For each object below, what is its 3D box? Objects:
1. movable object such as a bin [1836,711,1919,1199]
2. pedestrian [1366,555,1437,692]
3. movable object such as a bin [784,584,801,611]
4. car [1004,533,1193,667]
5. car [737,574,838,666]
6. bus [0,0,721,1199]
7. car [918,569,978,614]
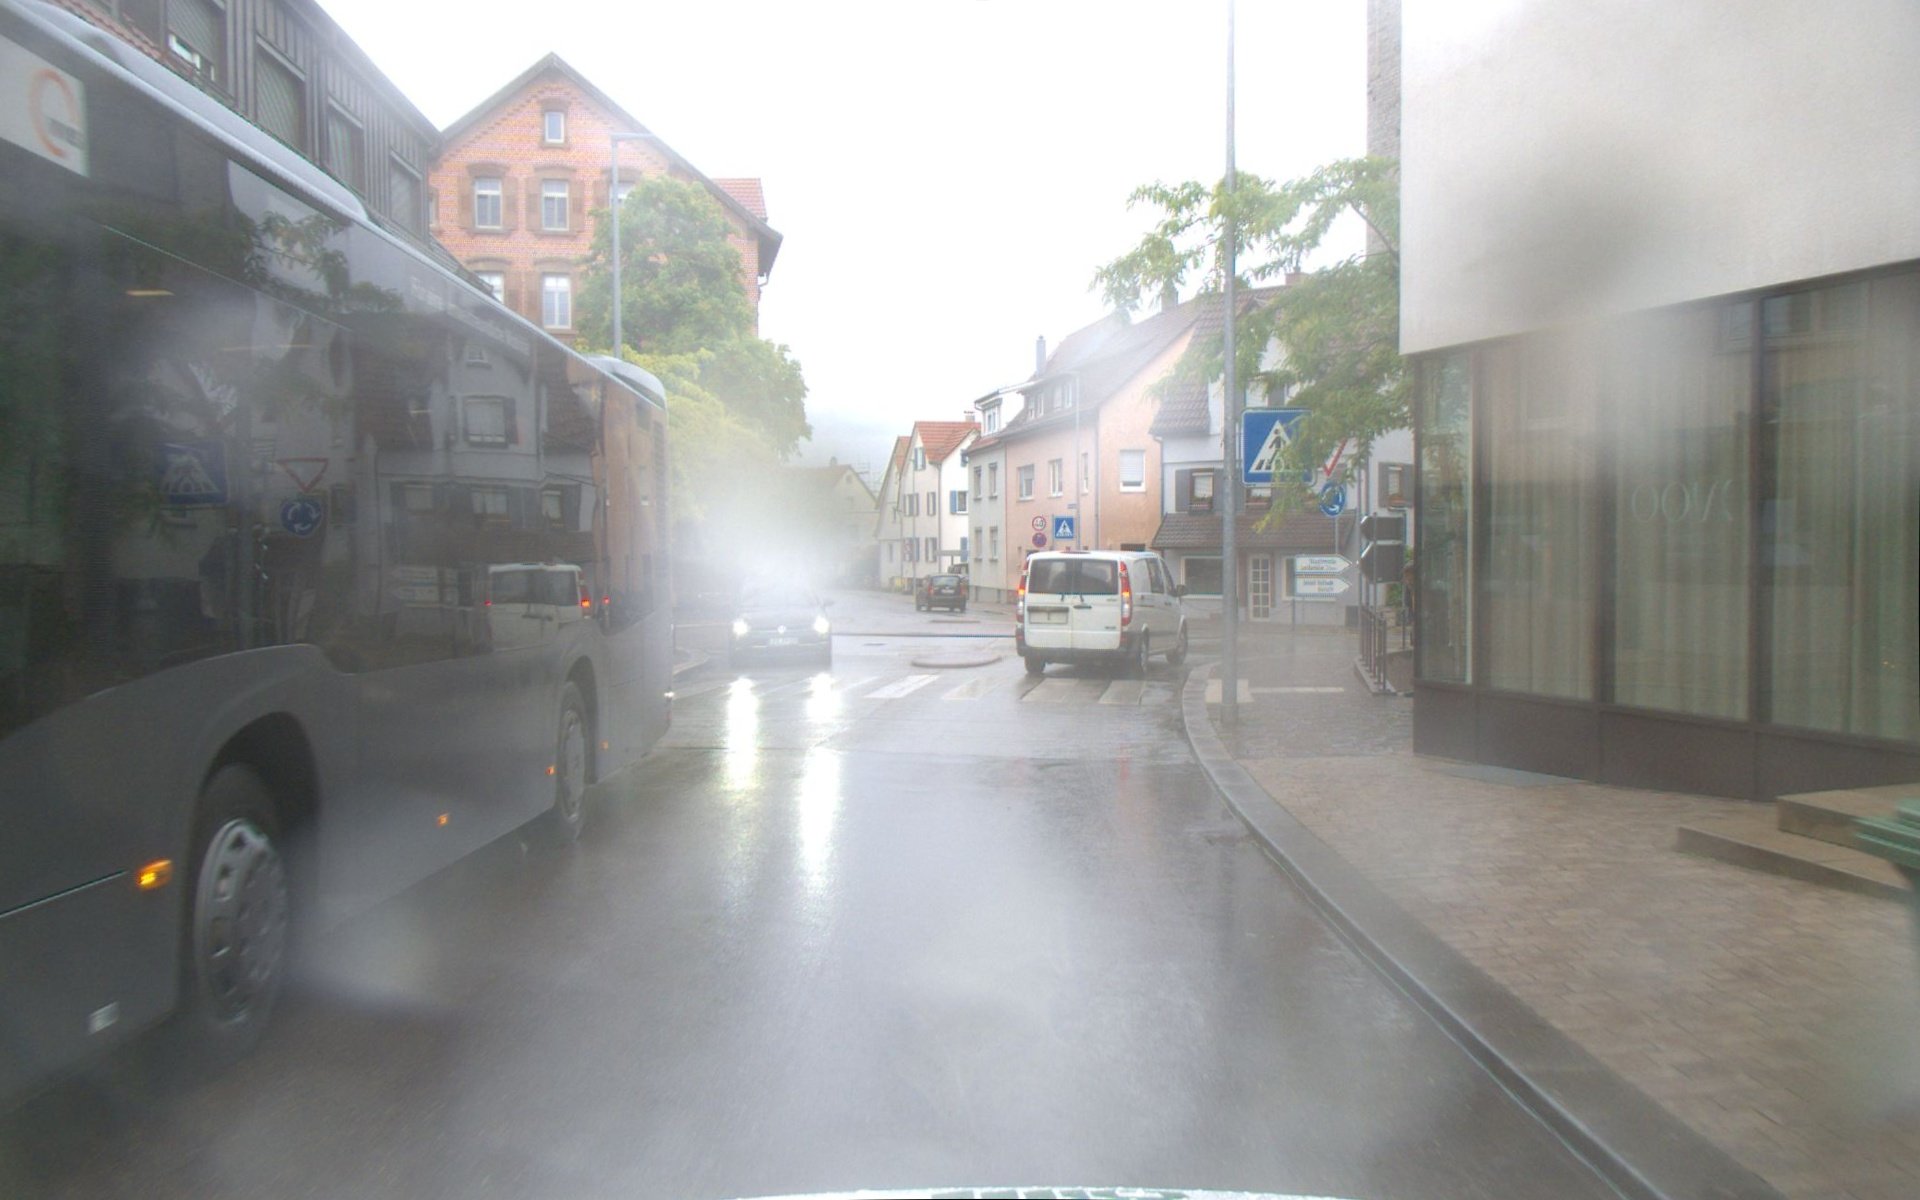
[{"bbox_3d":[2.131,0.797,3.064,0.709,1.137,0.576,0,0,0],"label":"movable object such as a bin"},{"bbox_3d":[5.421,0.282,20.329,0.571,1.634,0.702,-2,0,-8],"label":"pedestrian"},{"bbox_3d":[-7.532,-0.119,74.351,0.616,1.193,0.759,1,0,-13],"label":"movable object such as a bin"},{"bbox_3d":[2.331,0.008,26.398,2.107,1.932,4.928,0,0,16],"label":"car"},{"bbox_3d":[-2.980,0.292,29.175,1.632,1.455,4.465,0,1,-4],"label":"car"},{"bbox_3d":[-3.220,-0.141,7.547,2.668,3.133,10.946,0,1,0],"label":"bus"},{"bbox_3d":[-0.513,-0.320,65.223,1.935,1.709,4.062,0,0,-7],"label":"car"}]
